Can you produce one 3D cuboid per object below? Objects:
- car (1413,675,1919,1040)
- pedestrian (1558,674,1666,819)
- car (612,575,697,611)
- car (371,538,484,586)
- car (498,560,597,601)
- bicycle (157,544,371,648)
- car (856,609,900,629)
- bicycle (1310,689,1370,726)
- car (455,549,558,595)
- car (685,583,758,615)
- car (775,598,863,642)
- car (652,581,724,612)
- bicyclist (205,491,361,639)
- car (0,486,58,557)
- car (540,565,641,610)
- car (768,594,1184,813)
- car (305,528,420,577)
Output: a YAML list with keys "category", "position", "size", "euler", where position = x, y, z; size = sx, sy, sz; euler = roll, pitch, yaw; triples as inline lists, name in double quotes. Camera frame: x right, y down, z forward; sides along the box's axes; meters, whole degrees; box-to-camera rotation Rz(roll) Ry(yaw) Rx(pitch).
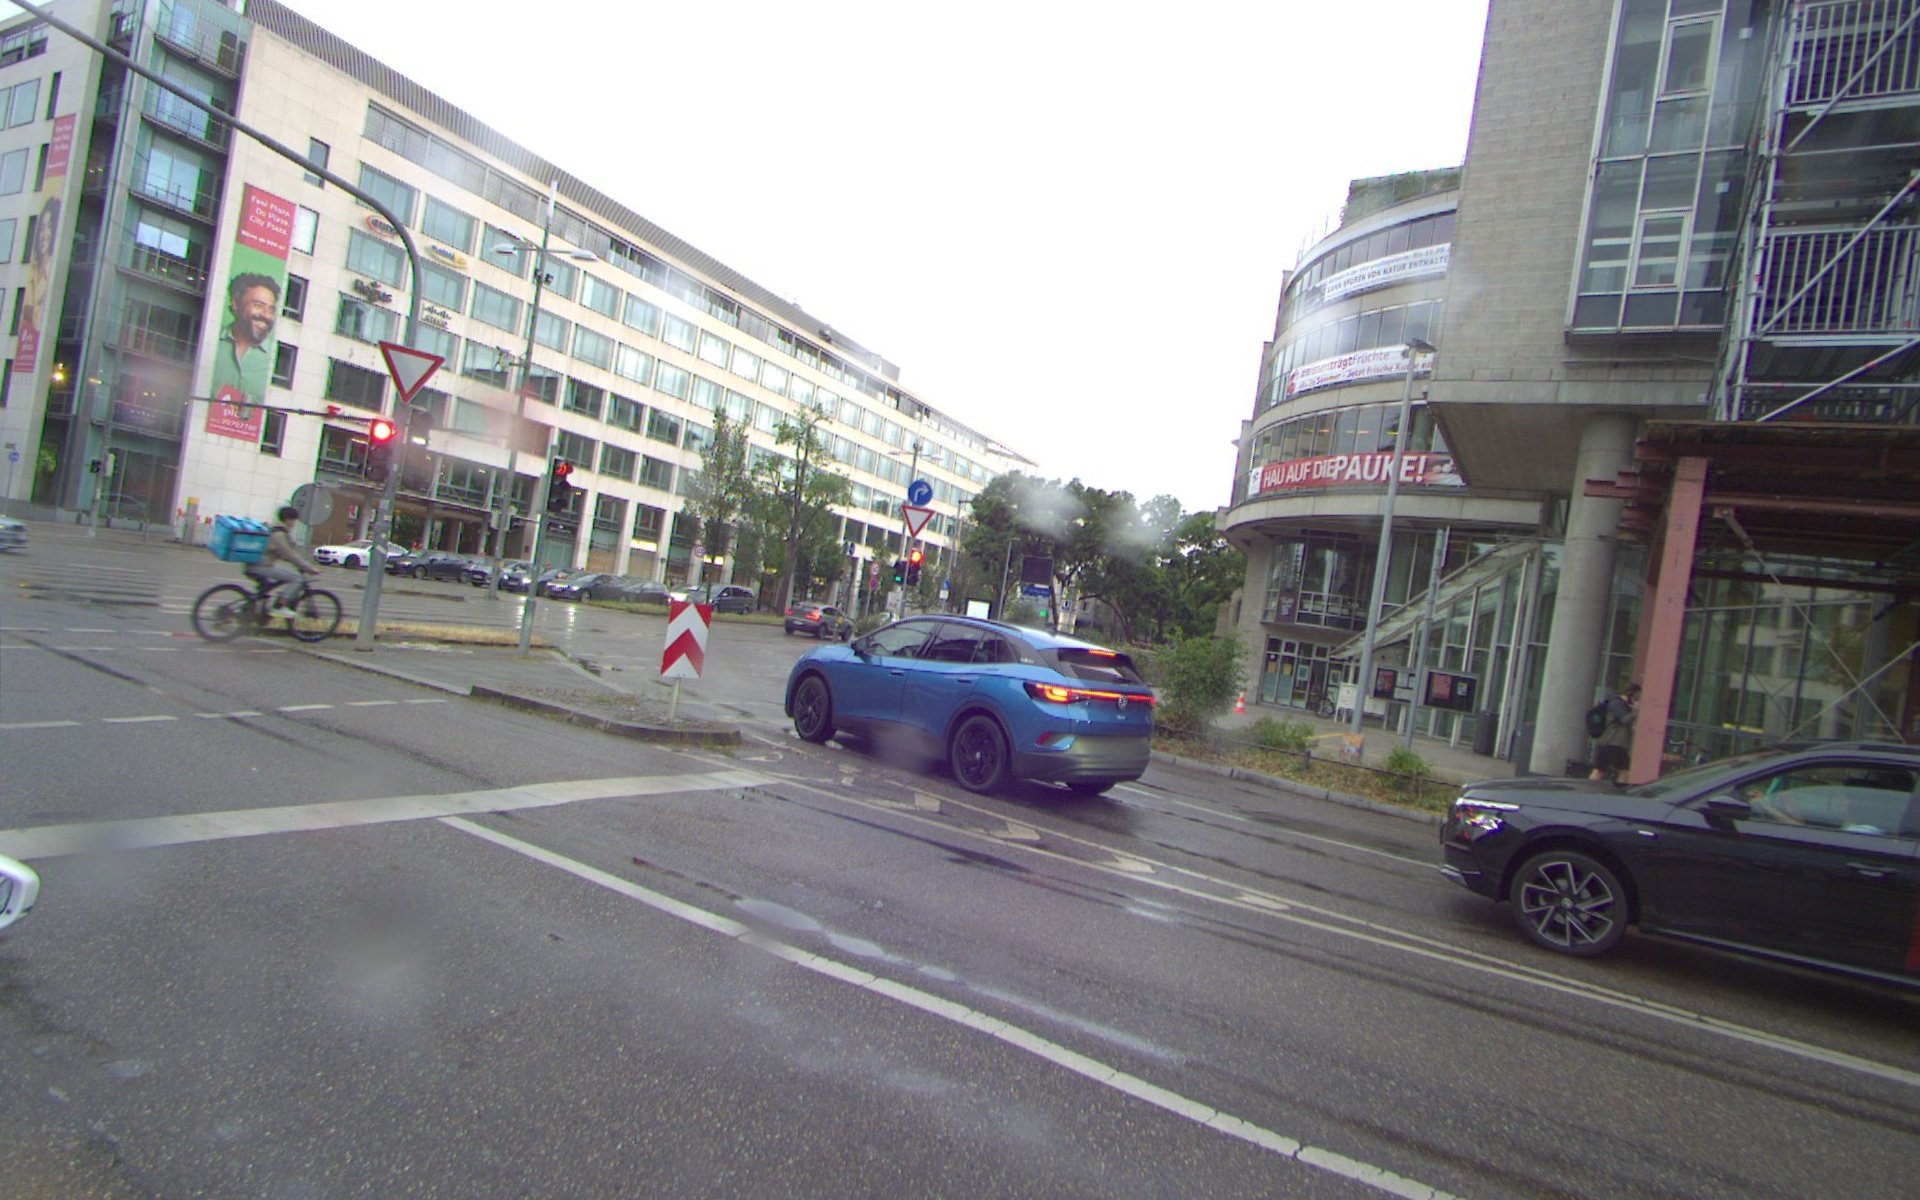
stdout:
- category: "car"
  position: [5.212, 1.549, 6.167]
  size: [4.080, 1.558, 1.780]
  euler: [7, -1, 34]
- category: "pedestrian"
  position: [9.354, 2.074, 14.444]
  size: [1.042, 1.874, 0.679]
  euler: [7, 0, 42]
- category: "car"
  position: [-16.411, -0.360, 54.305]
  size: [1.891, 1.364, 4.654]
  euler: [7, -2, 19]
- category: "car"
  position: [-25.185, -1.775, 47.787]
  size: [1.963, 1.616, 4.468]
  euler: [7, -2, 20]
- category: "car"
  position: [-19.045, -0.865, 46.704]
  size: [1.690, 1.364, 4.469]
  euler: [7, -2, 17]
- category: "bicycle"
  position: [-8.896, 0.001, 13.008]
  size: [0.832, 1.116, 2.155]
  euler: [7, -1, 14]
- category: "car"
  position: [-7.514, 1.766, 92.186]
  size: [1.892, 1.364, 4.650]
  euler: [7, -2, 24]
- category: "bicycle"
  position: [13.437, 3.806, 35.621]
  size: [1.816, 0.995, 0.757]
  euler: [8, -1, 12]
- category: "car"
  position: [-21.856, -1.313, 48.714]
  size: [1.962, 1.616, 4.469]
  euler: [7, -1, 17]
- category: "car"
  position: [-14.154, -0.033, 60.005]
  size: [1.891, 1.364, 4.654]
  euler: [7, -2, 19]
- category: "car"
  position: [-6.615, 0.997, 47.785]
  size: [1.963, 1.568, 4.557]
  euler: [7, -1, 23]
- category: "car"
  position: [-16.913, -0.210, 62.773]
  size: [1.891, 1.364, 4.653]
  euler: [7, -2, 21]
- category: "bicyclist"
  position: [-8.779, -0.420, 13.112]
  size: [0.832, 1.724, 1.300]
  euler: [7, -1, 14]
- category: "car"
  position: [-23.193, -2.045, 22.137]
  size: [4.400, 1.504, 1.992]
  euler: [9, 0, -18]
- category: "car"
  position: [-16.490, -0.510, 45.114]
  size: [1.690, 1.481, 4.468]
  euler: [7, -2, 19]
- category: "car"
  position: [-0.041, 0.954, 10.605]
  size: [1.699, 1.547, 4.373]
  euler: [9, -2, -43]
- category: "car"
  position: [-28.601, -2.234, 48.336]
  size: [1.962, 1.616, 4.469]
  euler: [7, -1, 17]
